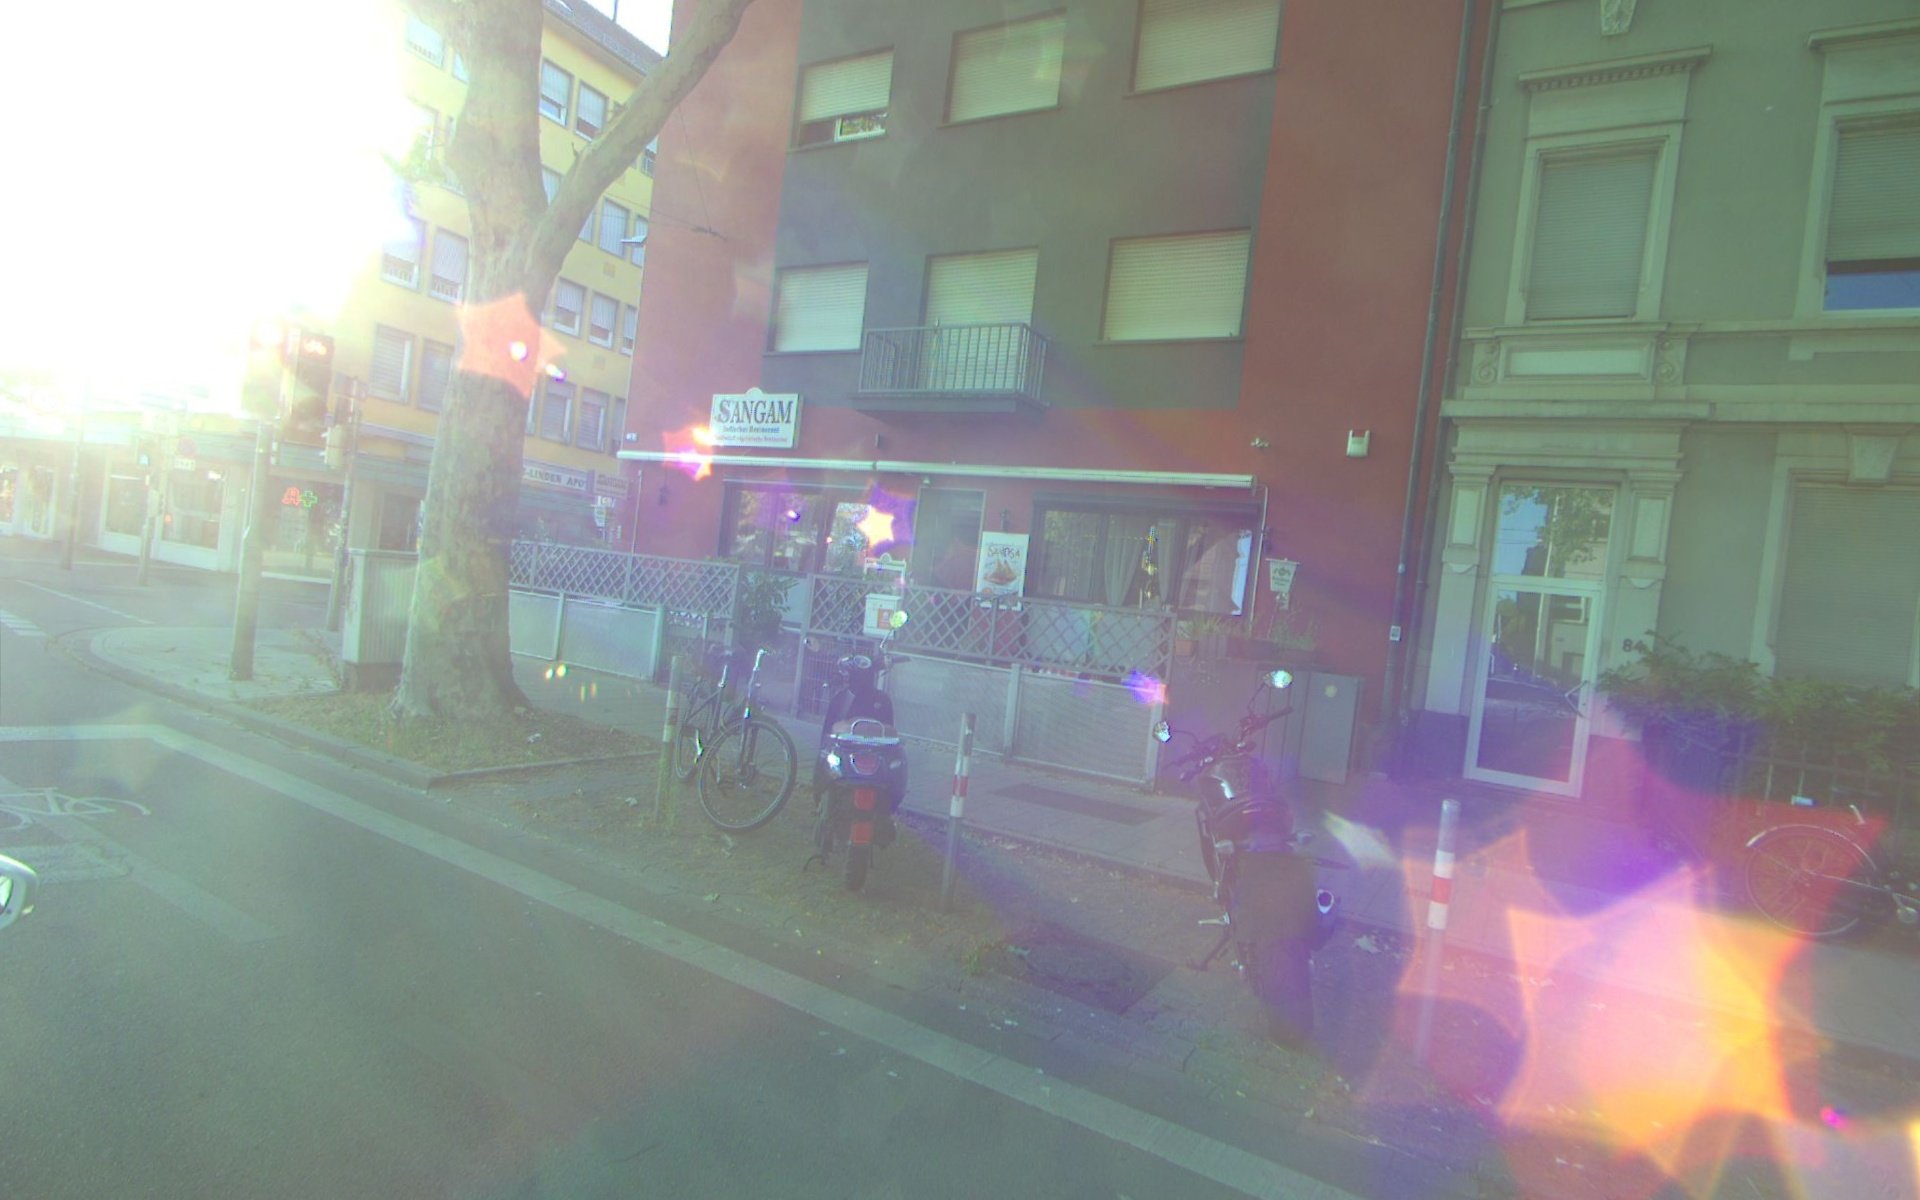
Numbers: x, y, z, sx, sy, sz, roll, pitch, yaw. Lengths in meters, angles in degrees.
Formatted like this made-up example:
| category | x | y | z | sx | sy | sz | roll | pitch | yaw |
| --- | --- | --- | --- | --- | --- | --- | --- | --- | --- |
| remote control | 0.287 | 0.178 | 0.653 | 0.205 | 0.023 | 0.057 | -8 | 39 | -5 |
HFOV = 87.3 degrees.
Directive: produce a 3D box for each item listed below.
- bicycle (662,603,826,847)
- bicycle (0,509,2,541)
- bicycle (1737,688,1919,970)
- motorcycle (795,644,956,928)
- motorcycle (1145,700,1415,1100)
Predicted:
| category | x | y | z | sx | sy | sz | roll | pitch | yaw |
| --- | --- | --- | --- | --- | --- | --- | --- | --- | --- |
| bicycle | -1.498 | 0.743 | 6.684 | 0.686 | 1.219 | 1.837 | 8 | 2 | -20 |
| bicycle | -23.438 | -1.711 | 23.216 | 0.683 | 1.034 | 1.774 | 7 | 1 | 31 |
| bicycle | 5.858 | 1.375 | 5.509 | 2.356 | 1.443 | 0.608 | 6 | -1 | 32 |
| motorcycle | -0.549 | 0.916 | 5.658 | 0.591 | 1.166 | 1.994 | 6 | 0 | -10 |
| motorcycle | 1.311 | 1.153 | 4.623 | 0.752 | 1.077 | 2.212 | 7 | 2 | 9 |
